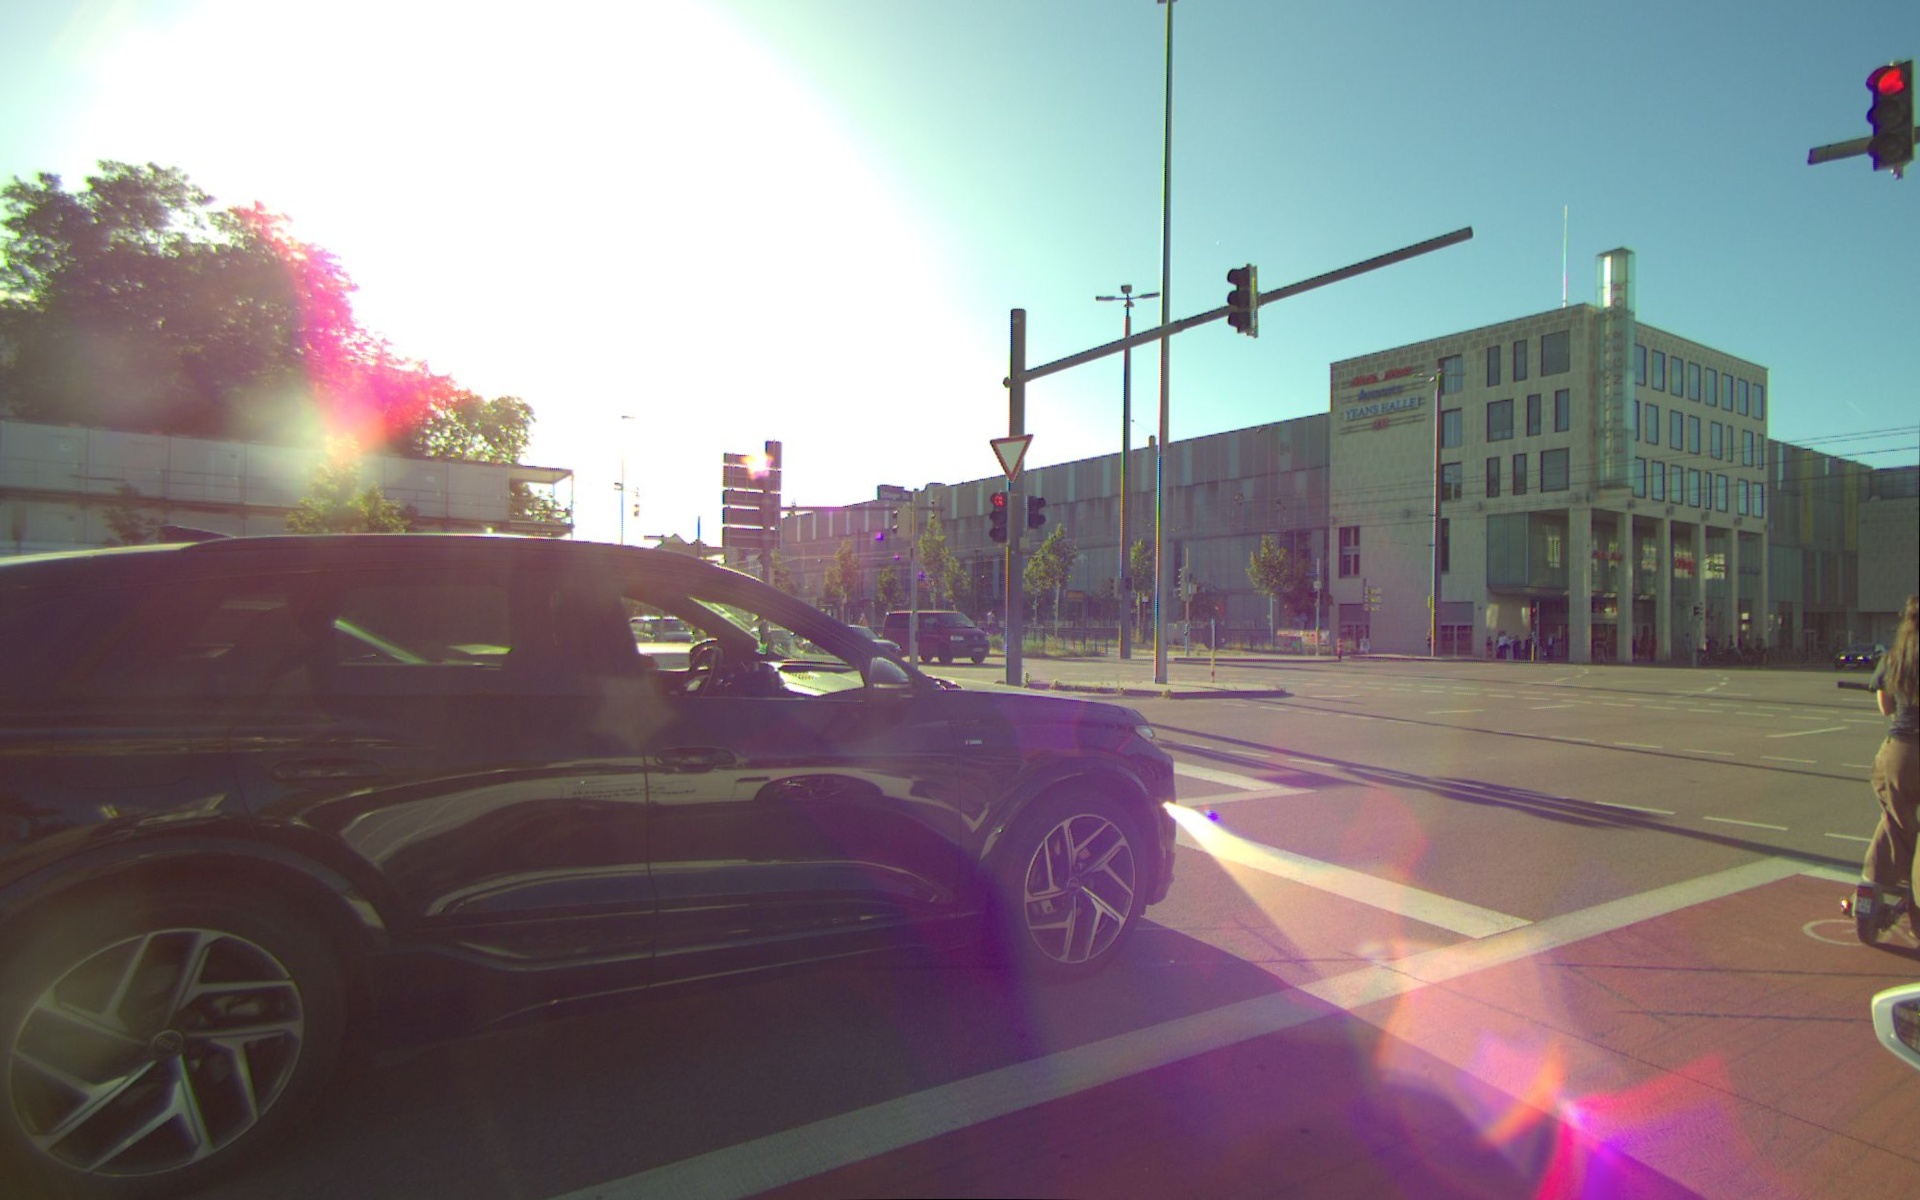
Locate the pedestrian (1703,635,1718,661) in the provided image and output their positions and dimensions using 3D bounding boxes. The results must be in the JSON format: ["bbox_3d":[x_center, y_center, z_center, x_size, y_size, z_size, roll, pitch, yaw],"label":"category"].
[{"bbox_3d":[49.181,3.145,65.791,0.622,1.667,0.589,1,-1,-30],"label":"pedestrian"}]

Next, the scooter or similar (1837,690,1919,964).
[{"bbox_3d":[4.349,1.006,4.671,0.832,1.122,0.303,2,-1,-42],"label":"scooter or similar"}]

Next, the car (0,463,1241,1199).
[{"bbox_3d":[-1.290,0.605,4.044,4.614,1.729,2.153,1,-1,-33],"label":"car"}]

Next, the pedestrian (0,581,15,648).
[{"bbox_3d":[-23.305,0.340,24.251,0.591,1.624,0.583,2,0,-33],"label":"pedestrian"}]

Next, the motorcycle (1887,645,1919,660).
[{"bbox_3d":[70.945,3.938,74.894,1.106,1.006,2.582,2,0,-38],"label":"motorcycle"}]

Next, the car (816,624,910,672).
[{"bbox_3d":[-3.308,1.563,33.759,1.858,1.500,3.954,1,-1,-27],"label":"car"}]

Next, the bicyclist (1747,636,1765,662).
[{"bbox_3d":[46.369,2.862,58.504,0.581,1.467,0.623,1,-1,-28],"label":"bicyclist"}]

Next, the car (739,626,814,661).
[{"bbox_3d":[-8.701,2.037,47.531,1.660,1.530,3.824,2,-2,-44],"label":"car"}]

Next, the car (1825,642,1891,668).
[{"bbox_3d":[49.700,3.021,55.563,3.975,1.375,1.668,1,-1,-31],"label":"car"}]

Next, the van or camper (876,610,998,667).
[{"bbox_3d":[-0.926,1.415,38.053,1.992,2.040,4.783,2,-2,-42],"label":"van or camper"}]

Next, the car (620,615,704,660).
[{"bbox_3d":[-13.953,1.708,46.821,1.874,1.947,4.870,2,-2,-42],"label":"car"}]

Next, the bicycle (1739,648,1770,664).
[{"bbox_3d":[46.190,3.255,58.385,2.191,0.915,0.633,1,-1,-29],"label":"bicycle"}]

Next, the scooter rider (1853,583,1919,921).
[{"bbox_3d":[4.615,0.702,4.725,0.445,1.550,0.548,1,-1,-38],"label":"scooter rider"}]

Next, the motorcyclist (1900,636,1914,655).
[{"bbox_3d":[71.000,3.420,75.297,0.657,1.424,0.623,2,0,-38],"label":"motorcyclist"}]

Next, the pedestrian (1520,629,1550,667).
[{"bbox_3d":[26.168,2.193,45.712,0.994,1.697,0.818,1,-1,-33],"label":"pedestrian"}]

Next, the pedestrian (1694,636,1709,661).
[{"bbox_3d":[53.033,3.491,71.870,0.681,1.752,0.472,2,0,9],"label":"pedestrian"}]
